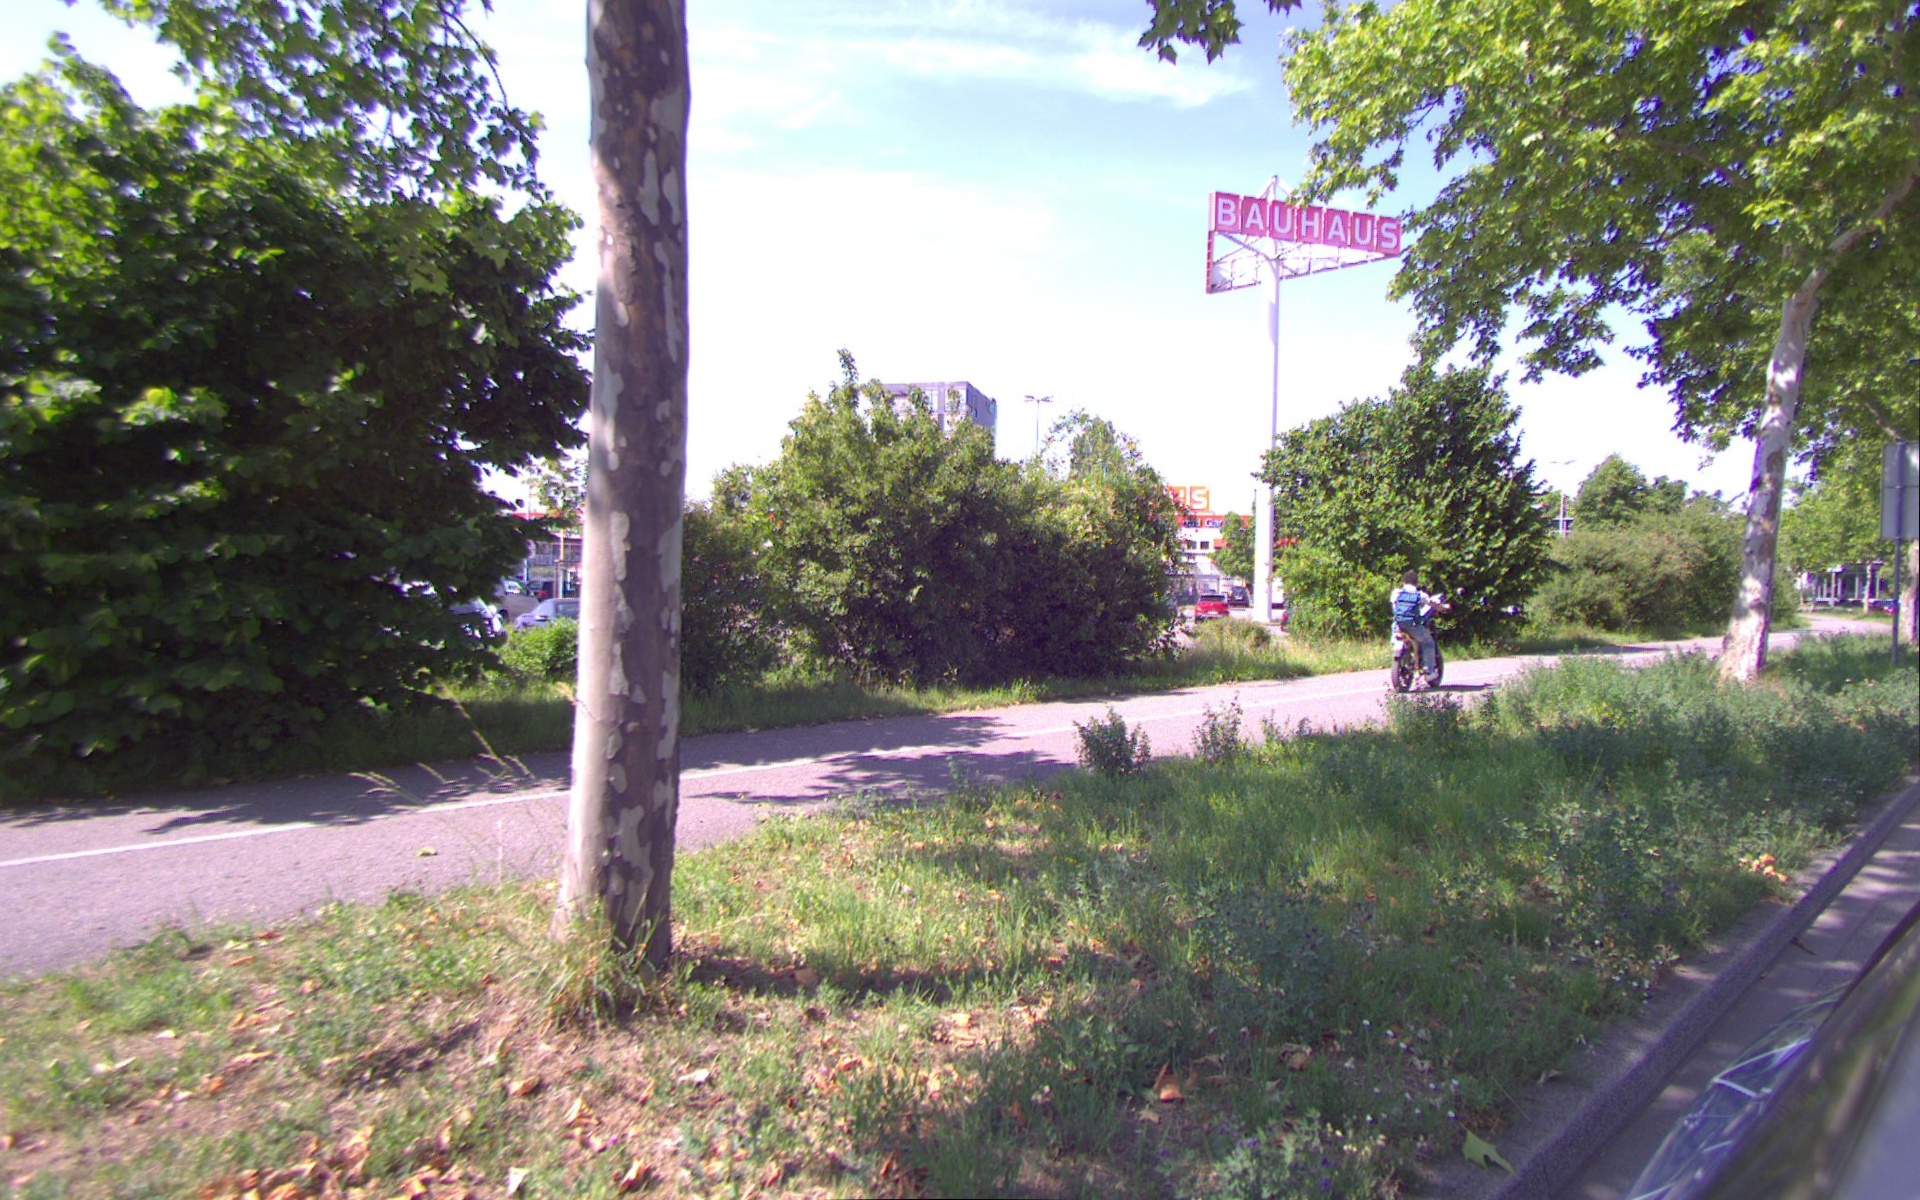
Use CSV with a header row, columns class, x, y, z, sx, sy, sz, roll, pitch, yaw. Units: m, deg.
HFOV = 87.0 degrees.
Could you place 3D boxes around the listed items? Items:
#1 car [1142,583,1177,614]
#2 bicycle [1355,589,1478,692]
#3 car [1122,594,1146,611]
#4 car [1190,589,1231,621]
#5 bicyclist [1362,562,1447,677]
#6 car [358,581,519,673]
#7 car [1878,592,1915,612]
class,x,y,z,sx,sy,sz,roll,pitch,yaw
car,11.520,-0.126,58.275,1.606,1.648,4.736,3,1,15
bicycle,6.335,0.516,13.994,2.058,1.315,0.724,-1,1,-40
car,12.103,0.161,70.263,1.495,1.073,3.175,-1,0,13
car,12.916,0.223,52.323,1.970,1.527,3.984,1,1,13
bicyclist,6.055,0.247,13.783,0.992,1.495,0.705,-1,1,-40
car,-9.255,0.391,17.804,1.578,1.438,3.993,0,1,-42
car,81.742,0.158,88.370,1.636,1.621,3.564,1,1,31
